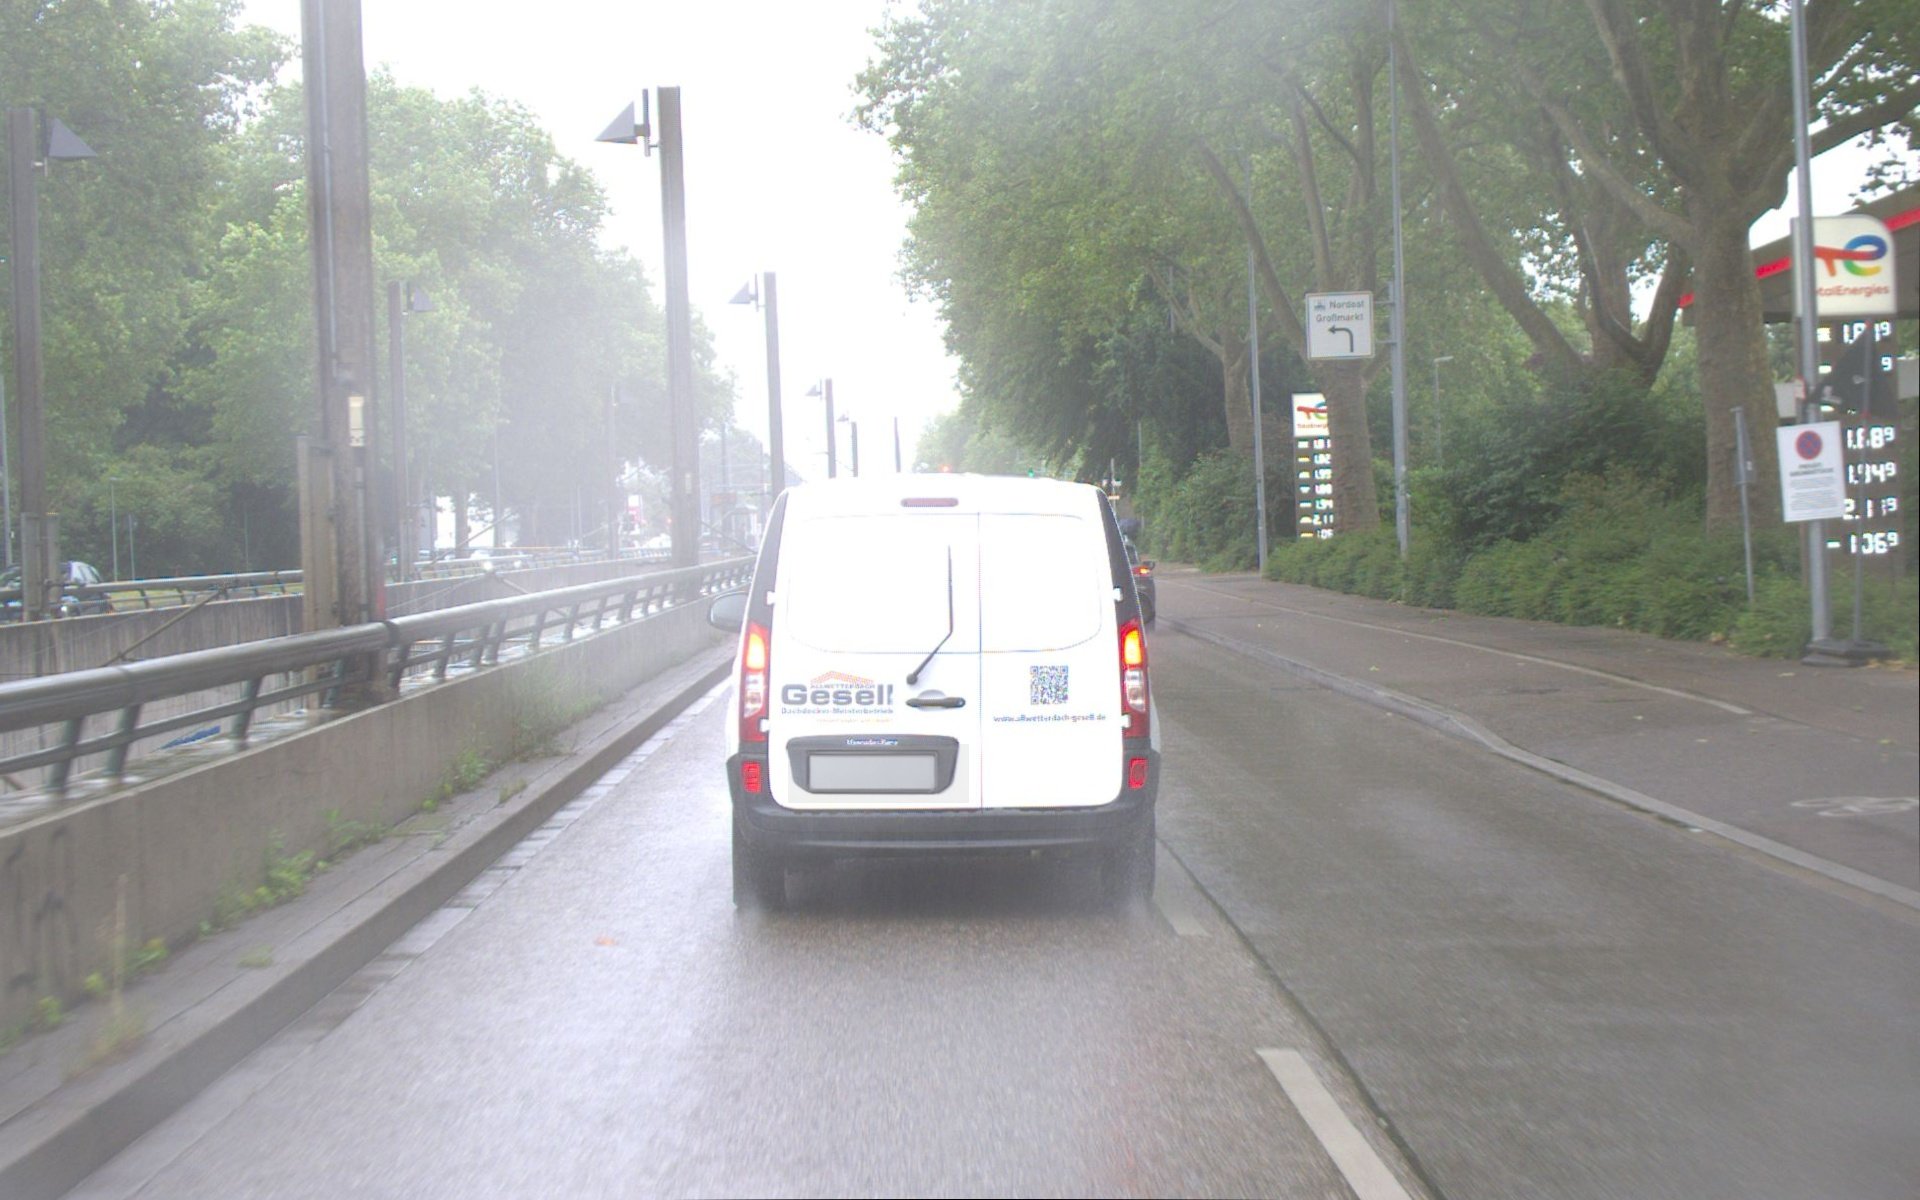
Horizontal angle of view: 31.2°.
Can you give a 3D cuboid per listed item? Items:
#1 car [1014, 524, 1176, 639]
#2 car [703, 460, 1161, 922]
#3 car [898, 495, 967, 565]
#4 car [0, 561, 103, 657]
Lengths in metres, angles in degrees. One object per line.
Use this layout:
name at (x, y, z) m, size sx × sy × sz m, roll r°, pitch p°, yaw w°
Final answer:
car at (1.981, -0.285, 51.607) m, size 1.993 × 1.579 × 4.001 m, roll -3°, pitch 1°, yaw -3°
car at (-0.169, 0.307, 15.190) m, size 1.756 × 1.771 × 4.001 m, roll 0°, pitch 1°, yaw -2°
car at (-0.857, -2.217, 109.842) m, size 2.048 × 2.133 × 4.000 m, roll -2°, pitch 1°, yaw 1°
car at (-16.707, 0.157, 61.016) m, size 1.907 × 1.565 × 4.000 m, roll -2°, pitch 1°, yaw 1°
